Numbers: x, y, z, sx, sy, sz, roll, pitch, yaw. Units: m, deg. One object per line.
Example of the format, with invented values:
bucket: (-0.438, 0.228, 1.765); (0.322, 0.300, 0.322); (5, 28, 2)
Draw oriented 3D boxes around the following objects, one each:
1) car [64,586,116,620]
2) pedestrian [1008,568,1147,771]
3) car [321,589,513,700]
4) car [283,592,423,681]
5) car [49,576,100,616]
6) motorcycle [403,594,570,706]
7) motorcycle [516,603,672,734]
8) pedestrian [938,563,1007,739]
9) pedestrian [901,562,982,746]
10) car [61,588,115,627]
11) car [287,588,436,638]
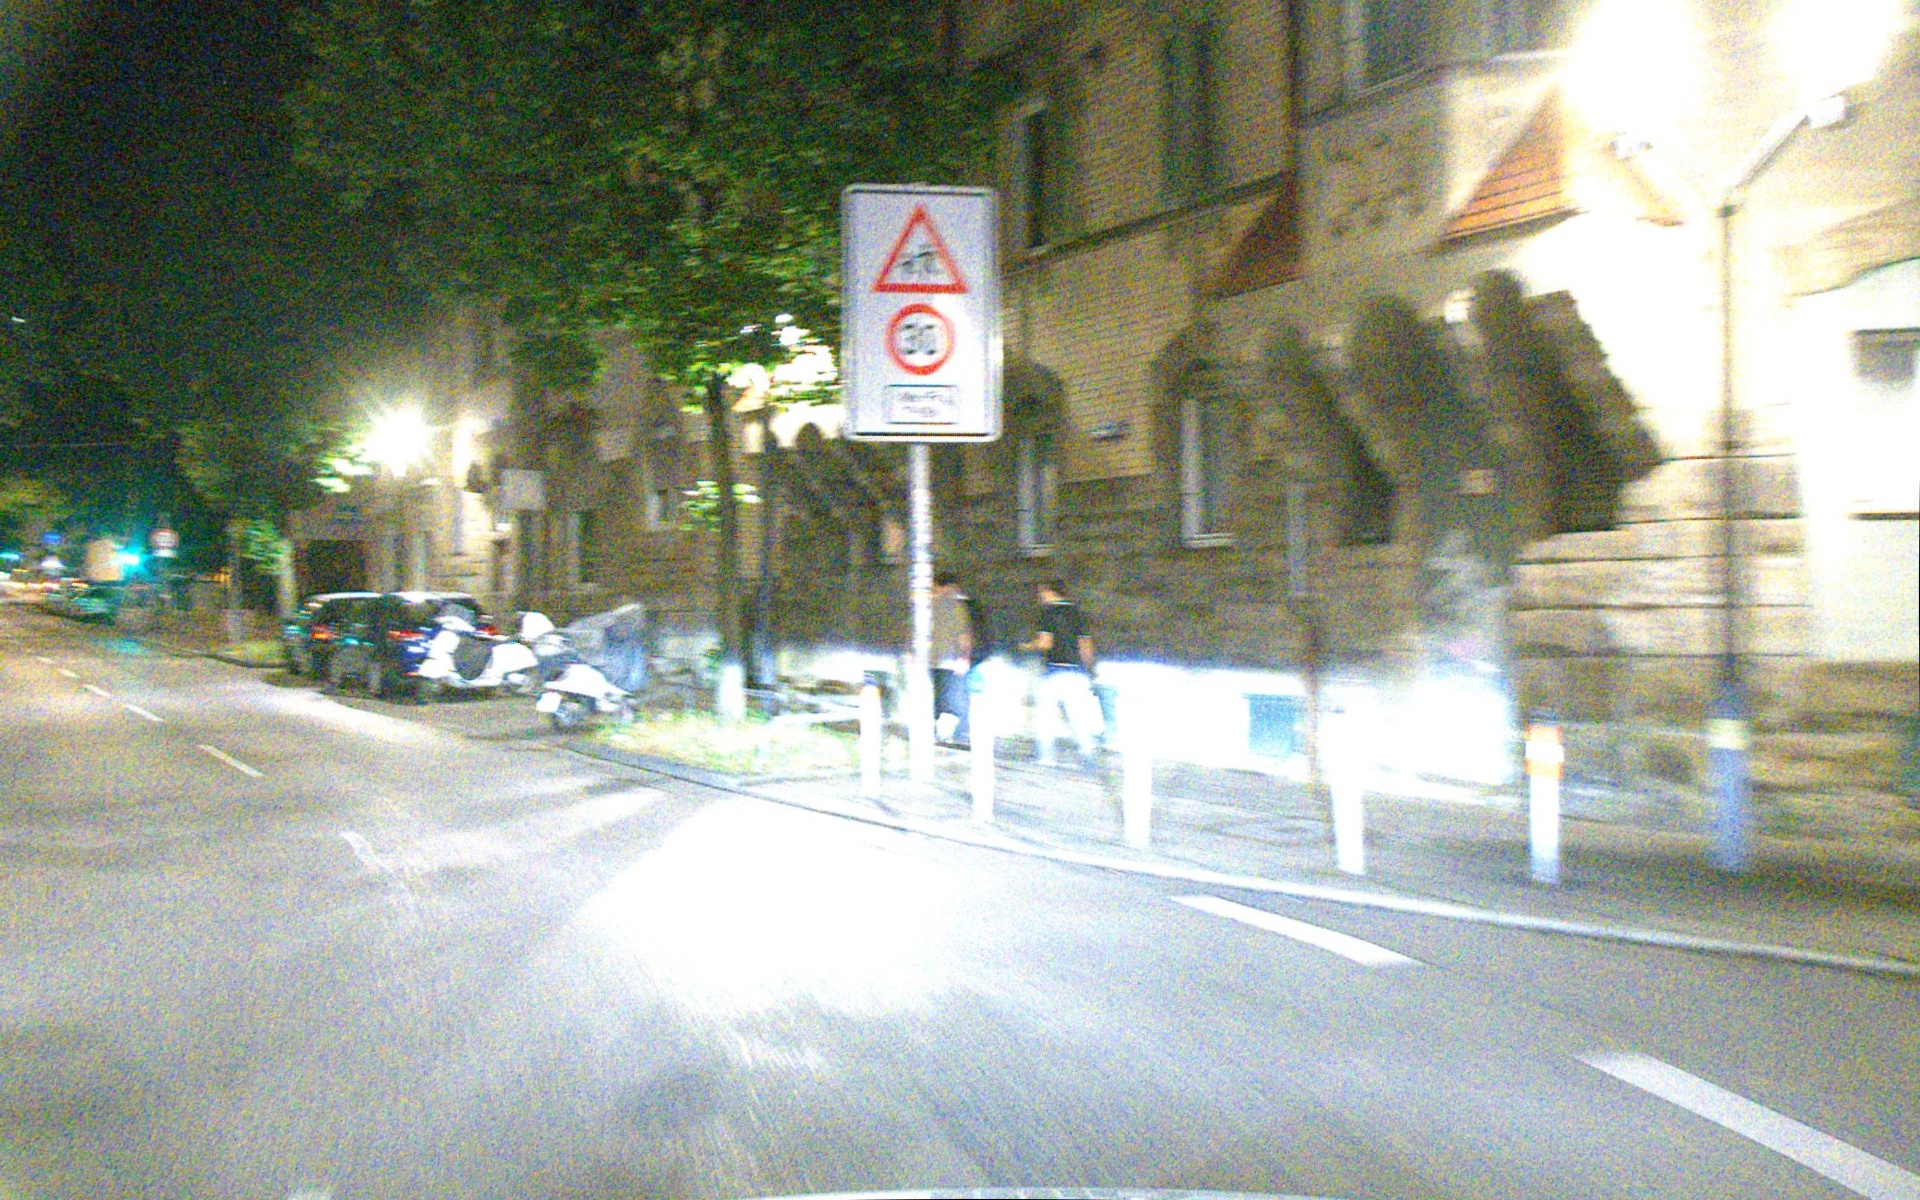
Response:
car: (-38.924, 0.112, 73.952); (1.670, 1.445, 4.394); (-1, 1, -32)
pedestrian: (0.996, 0.570, 14.120); (0.798, 1.659, 0.956); (0, 0, -30)
car: (-8.408, 0.615, 25.384); (1.717, 1.527, 4.415); (-1, 0, -33)
car: (-10.991, 0.601, 29.811); (1.718, 1.479, 3.959); (-1, 1, -30)
car: (-42.446, -0.212, 79.217); (1.720, 1.887, 4.265); (-1, 1, -34)
motorcycle: (-6.613, 0.670, 23.176); (2.042, 1.430, 0.910); (-2, 2, -42)
motorcycle: (-4.099, 0.734, 18.671); (0.745, 1.377, 1.944); (0, 0, 22)
pedestrian: (0.124, 0.503, 16.720); (0.472, 1.739, 0.565); (-1, 0, -32)
pedestrian: (-0.184, 0.506, 16.077); (0.502, 1.739, 0.697); (-1, 0, -32)
car: (-36.828, 0.288, 69.819); (1.723, 1.503, 3.956); (-3, 2, -32)
car: (-18.305, 0.388, 50.645); (3.980, 1.447, 1.830); (-1, -1, -35)
